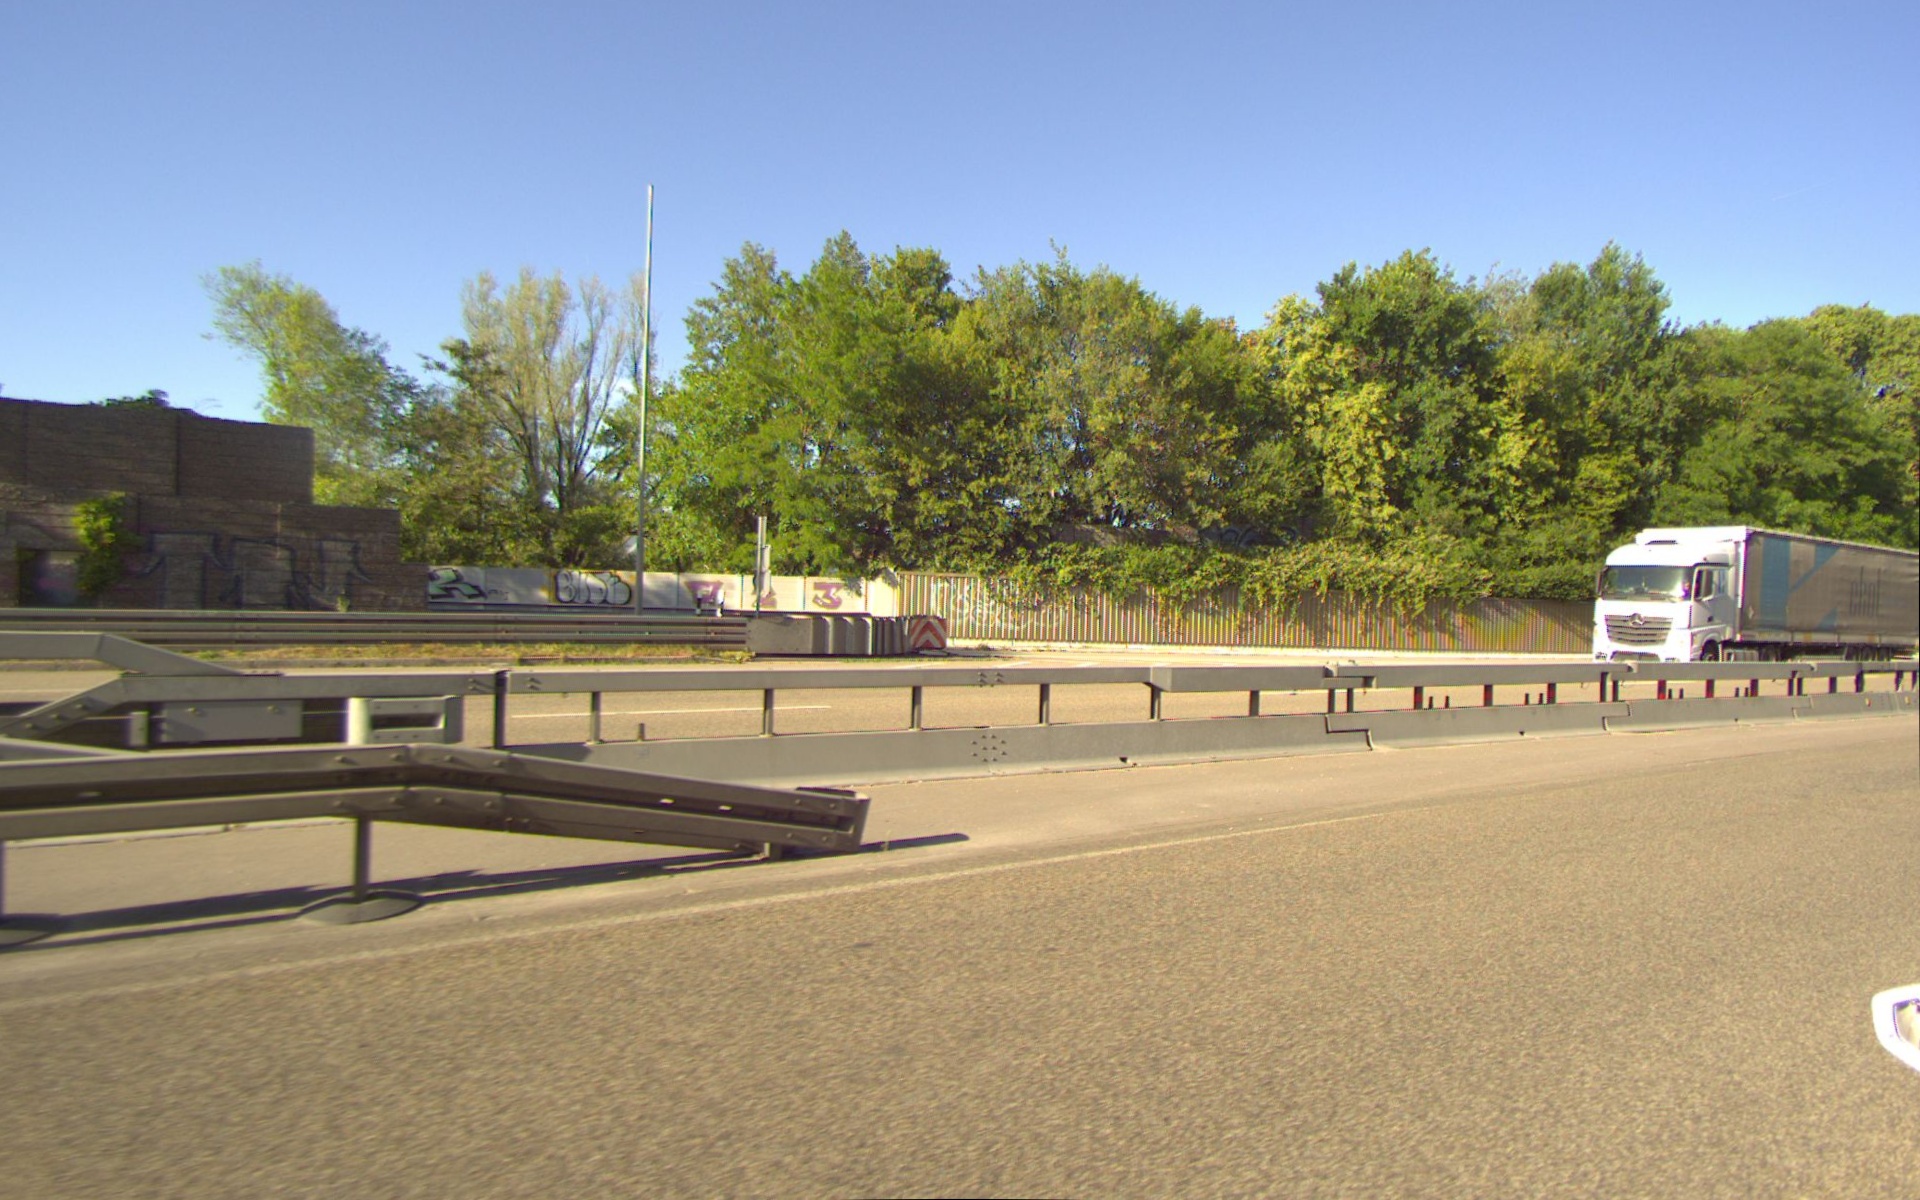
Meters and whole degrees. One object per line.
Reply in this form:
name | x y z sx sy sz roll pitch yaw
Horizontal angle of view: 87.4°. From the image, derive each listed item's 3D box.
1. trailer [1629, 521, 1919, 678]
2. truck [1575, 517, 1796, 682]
trailer | 26.777 0.038 32.478 13.922 4.338 2.733 1 2 -31
truck | 20.946 -0.022 28.951 6.313 4.319 2.721 1 2 -31
